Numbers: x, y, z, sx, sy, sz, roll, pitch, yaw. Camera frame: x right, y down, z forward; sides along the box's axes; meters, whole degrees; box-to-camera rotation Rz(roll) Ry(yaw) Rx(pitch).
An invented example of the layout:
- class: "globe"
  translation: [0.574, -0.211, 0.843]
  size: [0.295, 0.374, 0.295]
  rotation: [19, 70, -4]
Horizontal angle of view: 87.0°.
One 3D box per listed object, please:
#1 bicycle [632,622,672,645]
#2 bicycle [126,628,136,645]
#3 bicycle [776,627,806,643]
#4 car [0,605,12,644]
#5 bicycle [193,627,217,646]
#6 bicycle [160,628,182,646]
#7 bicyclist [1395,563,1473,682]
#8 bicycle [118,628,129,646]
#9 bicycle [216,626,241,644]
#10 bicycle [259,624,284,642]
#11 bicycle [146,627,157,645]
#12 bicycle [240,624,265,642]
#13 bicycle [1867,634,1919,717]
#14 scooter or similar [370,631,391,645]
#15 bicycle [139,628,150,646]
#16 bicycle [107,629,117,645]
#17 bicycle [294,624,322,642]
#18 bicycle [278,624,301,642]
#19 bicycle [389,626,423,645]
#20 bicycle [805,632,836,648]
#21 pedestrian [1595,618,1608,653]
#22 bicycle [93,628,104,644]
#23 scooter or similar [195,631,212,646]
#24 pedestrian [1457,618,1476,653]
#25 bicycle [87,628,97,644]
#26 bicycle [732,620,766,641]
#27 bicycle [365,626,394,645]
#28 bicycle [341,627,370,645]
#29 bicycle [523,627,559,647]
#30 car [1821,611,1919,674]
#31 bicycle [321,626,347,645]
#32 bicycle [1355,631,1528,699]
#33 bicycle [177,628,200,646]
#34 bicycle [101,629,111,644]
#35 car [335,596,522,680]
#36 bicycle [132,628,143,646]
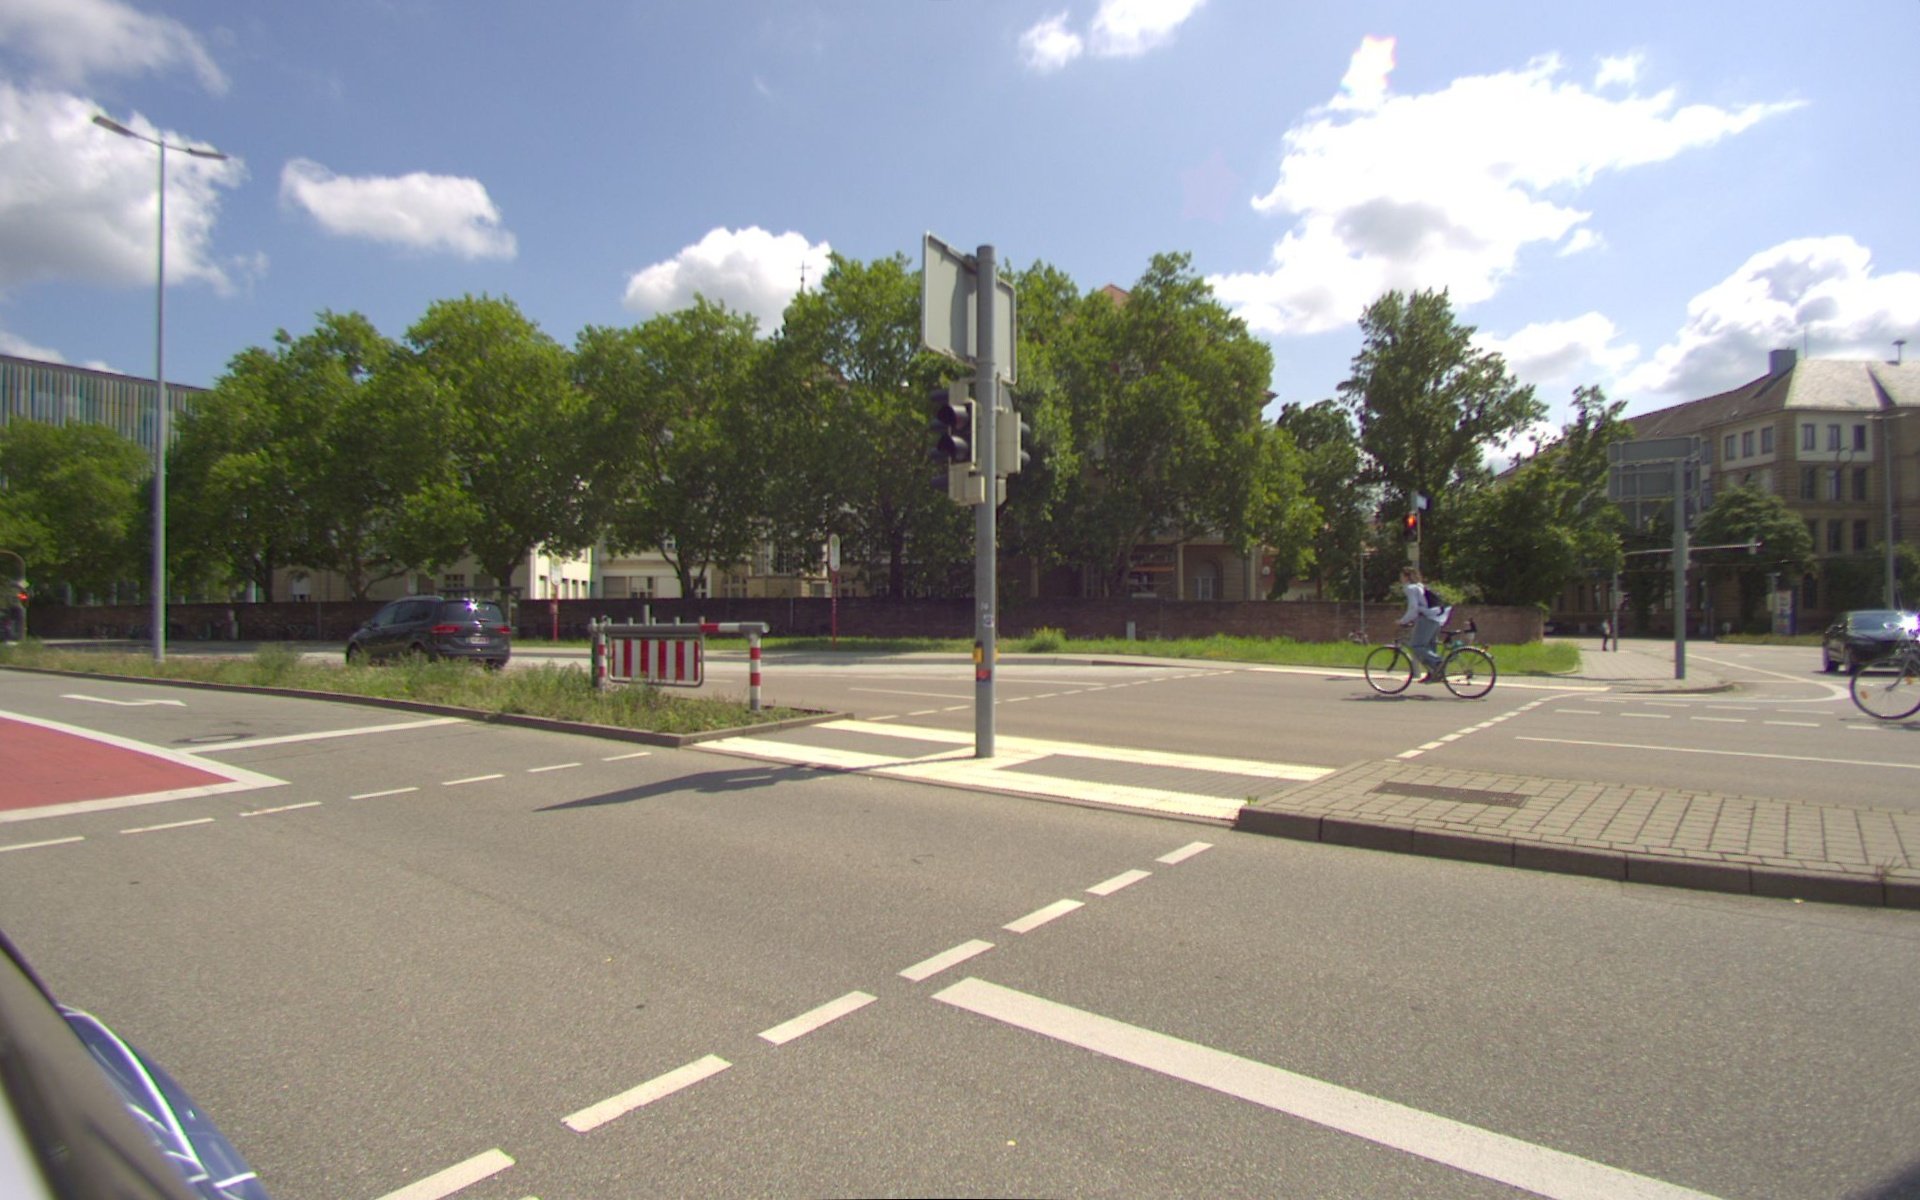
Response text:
- class: "bicycle"
  translation: [-15.880, 1.729, 52.163]
  size: [2.017, 1.146, 0.397]
  rotation: [0, -1, 11]
- class: "bicycle"
  translation: [-53.692, 2.368, 65.546]
  size: [0.376, 1.116, 1.674]
  rotation: [1, -1, -34]
- class: "bicycle"
  translation: [-8.502, 1.755, 50.960]
  size: [1.449, 0.795, 0.397]
  rotation: [0, -1, 8]
- class: "car"
  translation: [-55.422, 1.383, 56.888]
  size: [4.510, 2.188, 2.189]
  rotation: [-1, -3, 35]
- class: "bicycle"
  translation: [-46.428, 2.243, 62.245]
  size: [1.659, 1.116, 0.380]
  rotation: [-1, -1, 23]
- class: "bicycle"
  translation: [-49.779, 2.352, 63.840]
  size: [1.661, 1.116, 0.379]
  rotation: [-1, -1, 26]
- class: "bicyclist"
  translation: [6.748, 0.318, 14.392]
  size: [0.841, 1.631, 0.769]
  rotation: [-2, -2, 37]
- class: "bicycle"
  translation: [-54.195, 2.373, 65.578]
  size: [0.376, 1.116, 1.674]
  rotation: [1, -1, -34]
- class: "bicycle"
  translation: [-44.124, 2.117, 61.046]
  size: [1.659, 1.051, 0.380]
  rotation: [-1, -1, 23]
- class: "bicycle"
  translation: [-40.601, 1.939, 59.686]
  size: [1.659, 1.051, 0.380]
  rotation: [-1, -1, 23]
- class: "bicycle"
  translation: [-51.501, 2.282, 64.460]
  size: [0.376, 1.116, 1.674]
  rotation: [1, -1, -34]
- class: "bicycle"
  translation: [-42.195, 1.988, 60.360]
  size: [1.659, 1.051, 0.380]
  rotation: [-1, -1, 23]
- class: "bicycle"
  translation: [11.003, 0.825, 10.944]
  size: [1.743, 0.896, 0.561]
  rotation: [-2, -2, 44]
- class: "scooter or similar"
  translation: [-31.912, 2.096, 55.718]
  size: [1.058, 0.800, 0.352]
  rotation: [0, -1, 10]
- class: "bicycle"
  translation: [-52.197, 2.356, 64.772]
  size: [0.376, 1.116, 1.674]
  rotation: [1, -1, -34]
- class: "bicycle"
  translation: [-55.928, 2.415, 66.718]
  size: [0.324, 1.025, 1.674]
  rotation: [1, -1, -34]
- class: "bicycle"
  translation: [-37.680, 1.914, 58.525]
  size: [1.749, 1.051, 0.395]
  rotation: [-1, -1, 21]
- class: "bicycle"
  translation: [-39.162, 1.902, 59.090]
  size: [1.406, 1.051, 0.375]
  rotation: [-1, -1, 21]
- class: "bicycle"
  translation: [-30.625, 1.960, 55.959]
  size: [1.941, 1.051, 0.395]
  rotation: [-1, -1, 18]
- class: "bicycle"
  translation: [-7.002, 1.985, 50.736]
  size: [1.526, 0.795, 0.397]
  rotation: [0, -1, 8]
- class: "pedestrian"
  translation: [34.514, 1.900, 54.412]
  size: [0.435, 1.834, 0.566]
  rotation: [0, 0, 17]
- class: "bicycle"
  translation: [-57.410, 2.416, 67.448]
  size: [0.324, 1.025, 1.674]
  rotation: [1, -1, -34]
- class: "scooter or similar"
  translation: [-45.720, 2.318, 61.164]
  size: [1.062, 0.850, 0.350]
  rotation: [-1, -1, 22]
- class: "pedestrian"
  translation: [25.247, 1.759, 50.438]
  size: [0.669, 1.708, 0.489]
  rotation: [0, 0, -4]
- class: "bicycle"
  translation: [-58.084, 2.420, 67.751]
  size: [0.324, 1.025, 1.674]
  rotation: [1, -1, -34]
- class: "bicycle"
  translation: [-10.670, 1.552, 51.233]
  size: [1.667, 1.038, 0.397]
  rotation: [0, -1, 8]
- class: "bicycle"
  translation: [-32.459, 1.989, 56.584]
  size: [1.748, 1.051, 0.395]
  rotation: [-1, -1, 19]
- class: "bicycle"
  translation: [-34.158, 2.044, 57.208]
  size: [1.749, 1.011, 0.395]
  rotation: [-1, -1, 21]
- class: "bicycle"
  translation: [-22.120, 1.944, 53.420]
  size: [1.940, 1.051, 0.396]
  rotation: [-1, -1, 16]
- class: "car"
  translation: [23.937, 1.060, 26.139]
  size: [1.994, 1.497, 4.459]
  rotation: [-1, -2, 33]
- class: "bicycle"
  translation: [-35.772, 2.036, 57.817]
  size: [1.572, 1.051, 0.395]
  rotation: [-1, -1, 21]
- class: "bicycle"
  translation: [6.793, 0.885, 14.340]
  size: [2.105, 0.896, 0.769]
  rotation: [-1, -2, 38]
- class: "bicycle"
  translation: [-47.977, 2.296, 62.924]
  size: [1.660, 1.116, 0.379]
  rotation: [-1, -1, 24]
- class: "bicycle"
  translation: [-56.574, 2.413, 67.034]
  size: [0.324, 1.025, 1.674]
  rotation: [1, -1, -34]
- class: "car"
  translation: [-11.429, 0.776, 21.674]
  size: [4.146, 1.636, 1.865]
  rotation: [-2, -1, 35]
- class: "bicycle"
  translation: [-52.962, 2.364, 65.174]
  size: [0.376, 1.116, 1.674]
  rotation: [1, -1, -34]
